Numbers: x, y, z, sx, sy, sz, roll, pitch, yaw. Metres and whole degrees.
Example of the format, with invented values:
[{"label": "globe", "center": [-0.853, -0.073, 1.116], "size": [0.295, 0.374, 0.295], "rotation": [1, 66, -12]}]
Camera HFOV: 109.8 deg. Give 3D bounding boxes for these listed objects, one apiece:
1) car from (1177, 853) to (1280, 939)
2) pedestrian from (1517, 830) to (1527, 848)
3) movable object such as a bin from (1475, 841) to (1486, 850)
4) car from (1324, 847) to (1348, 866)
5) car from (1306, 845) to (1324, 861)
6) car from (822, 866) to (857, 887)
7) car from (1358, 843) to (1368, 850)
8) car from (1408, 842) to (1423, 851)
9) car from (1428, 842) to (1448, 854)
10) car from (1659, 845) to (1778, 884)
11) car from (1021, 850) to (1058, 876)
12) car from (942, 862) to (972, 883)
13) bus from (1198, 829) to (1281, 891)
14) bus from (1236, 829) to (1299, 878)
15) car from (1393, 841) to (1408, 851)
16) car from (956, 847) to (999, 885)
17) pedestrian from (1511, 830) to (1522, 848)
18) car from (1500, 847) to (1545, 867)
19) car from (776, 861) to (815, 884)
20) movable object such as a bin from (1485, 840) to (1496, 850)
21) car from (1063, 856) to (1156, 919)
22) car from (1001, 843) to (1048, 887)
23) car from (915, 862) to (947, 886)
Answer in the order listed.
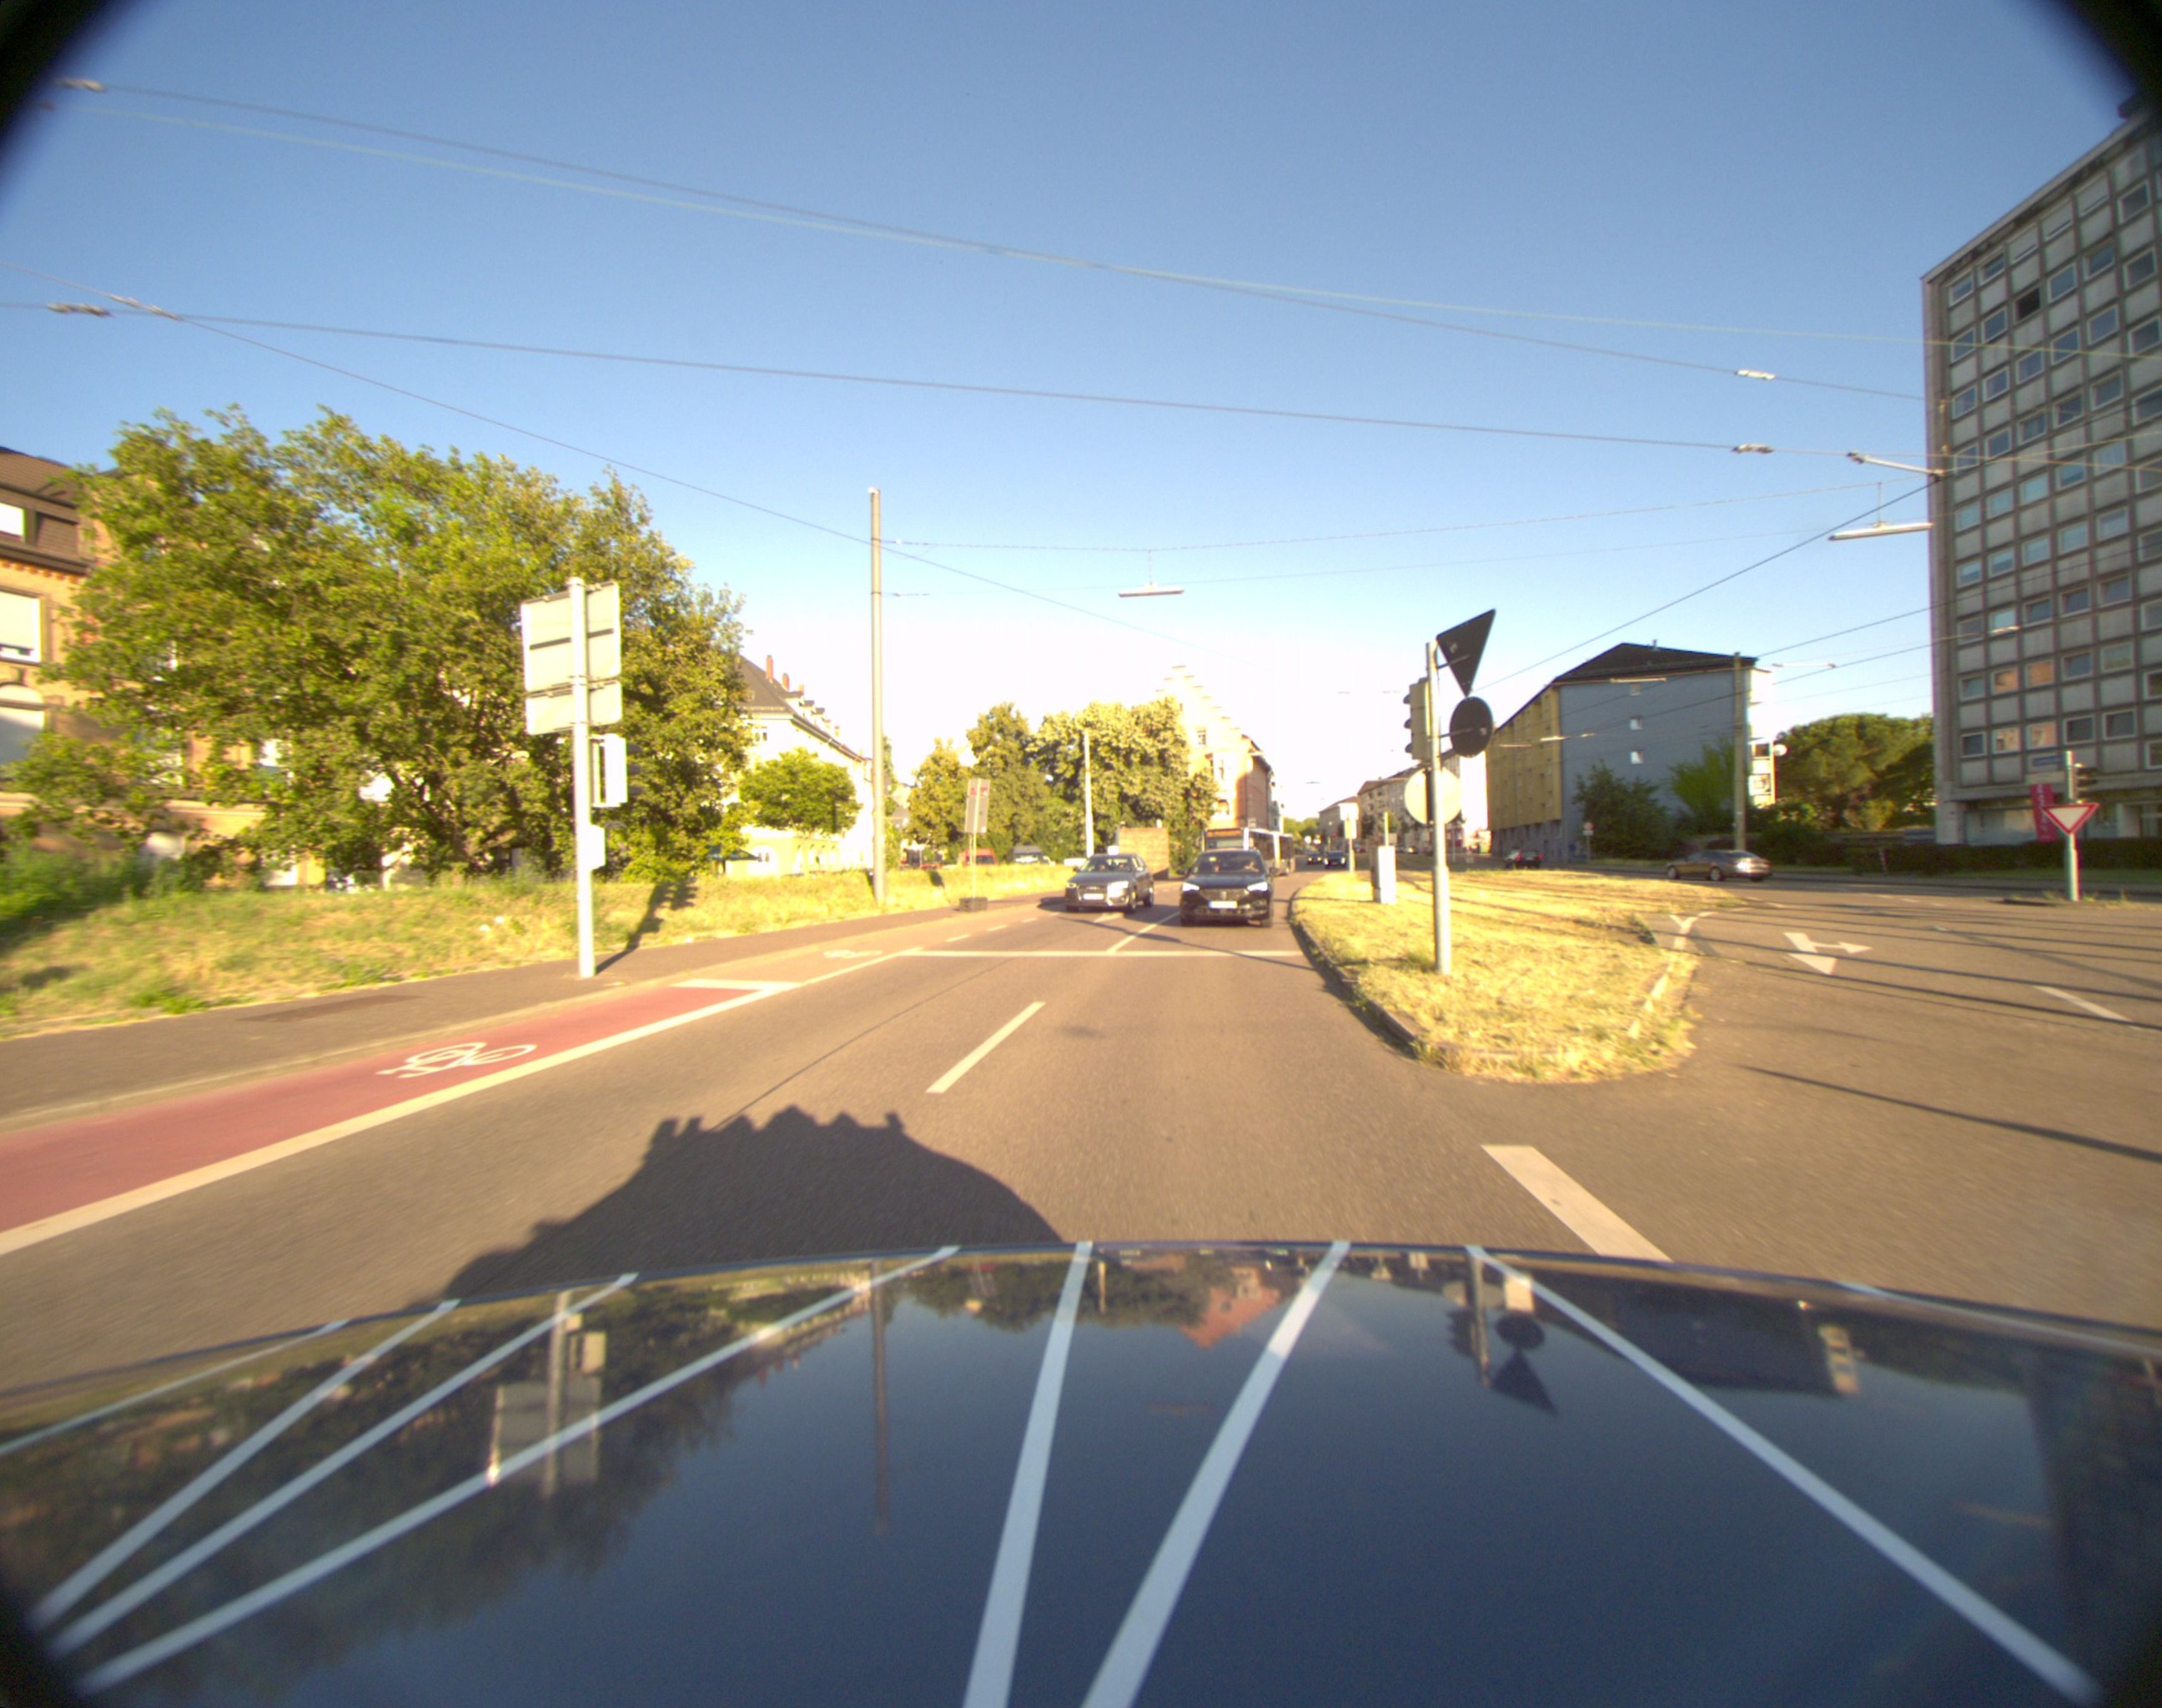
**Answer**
[{"label": "car", "center": [3.373, 0.815, 16.760], "size": [1.785, 1.615, 4.221], "rotation": [0, 0, 17]}, {"label": "pedestrian", "center": [44.323, -1.504, 76.364], "size": [0.617, 1.684, 0.707], "rotation": [-6, -1, 18]}, {"label": "movable object such as a bin", "center": [59.755, -1.263, 113.643], "size": [1.218, 1.407, 1.139], "rotation": [-2, 1, 14]}, {"label": "car", "center": [24.231, 0.209, 72.102], "size": [1.995, 1.761, 4.006], "rotation": [0, 0, 20]}, {"label": "car", "center": [27.863, -0.134, 90.358], "size": [1.888, 1.871, 4.005], "rotation": [0, 0, 19]}, {"label": "car", "center": [-14.346, 1.323, 45.274], "size": [1.707, 1.083, 3.702], "rotation": [-1, 0, -14]}, {"label": "car", "center": [66.572, -1.758, 179.661], "size": [1.795, 1.461, 4.800], "rotation": [1, 2, 15]}, {"label": "car", "center": [56.065, -1.280, 127.327], "size": [1.699, 1.451, 4.320], "rotation": [0, 1, 16]}, {"label": "car", "center": [51.047, -0.839, 108.650], "size": [1.920, 1.652, 4.715], "rotation": [0, 0, 17]}, {"label": "car", "center": [28.554, 0.431, 34.253], "size": [1.655, 1.587, 4.586], "rotation": [-1, 0, 2]}, {"label": "car", "center": [-3.390, 0.676, 61.267], "size": [1.928, 1.967, 4.743], "rotation": [-1, 0, -15]}, {"label": "car", "center": [-9.750, 1.421, 59.504], "size": [1.927, 1.531, 3.901], "rotation": [-2, 0, -15]}, {"label": "bus", "center": [9.633, 0.166, 44.925], "size": [2.727, 3.059, 10.614], "rotation": [-4, 0, 22]}, {"label": "bus", "center": [13.649, -0.136, 54.790], "size": [2.708, 3.059, 10.615], "rotation": [-4, 0, 22]}, {"label": "car", "center": [63.940, -1.569, 152.282], "size": [1.870, 1.818, 4.425], "rotation": [-1, 0, 10]}, {"label": "car", "center": [-6.578, 0.734, 47.790], "size": [2.044, 2.201, 5.408], "rotation": [-1, 0, -14]}, {"label": "pedestrian", "center": [43.527, -1.503, 75.951], "size": [0.594, 1.762, 0.887], "rotation": [-6, -1, 18]}, {"label": "car", "center": [34.360, 0.234, 59.263], "size": [1.779, 1.473, 4.404], "rotation": [0, 0, 13]}, {"label": "car", "center": [-17.072, 1.068, 45.560], "size": [1.707, 1.251, 3.702], "rotation": [-1, 0, -14]}, {"label": "movable object such as a bin", "center": [61.106, -1.303, 113.323], "size": [1.218, 1.407, 1.109], "rotation": [-2, 1, 14]}, {"label": "car", "center": [0.897, 0.846, 21.111], "size": [1.769, 1.578, 4.072], "rotation": [-1, 0, 14]}, {"label": "car", "center": [-3.764, 0.706, 49.660], "size": [2.044, 2.650, 6.207], "rotation": [-1, 0, -14]}, {"label": "car", "center": [-9.352, 1.217, 47.112], "size": [1.780, 1.365, 3.885], "rotation": [-1, 0, -14]}]
